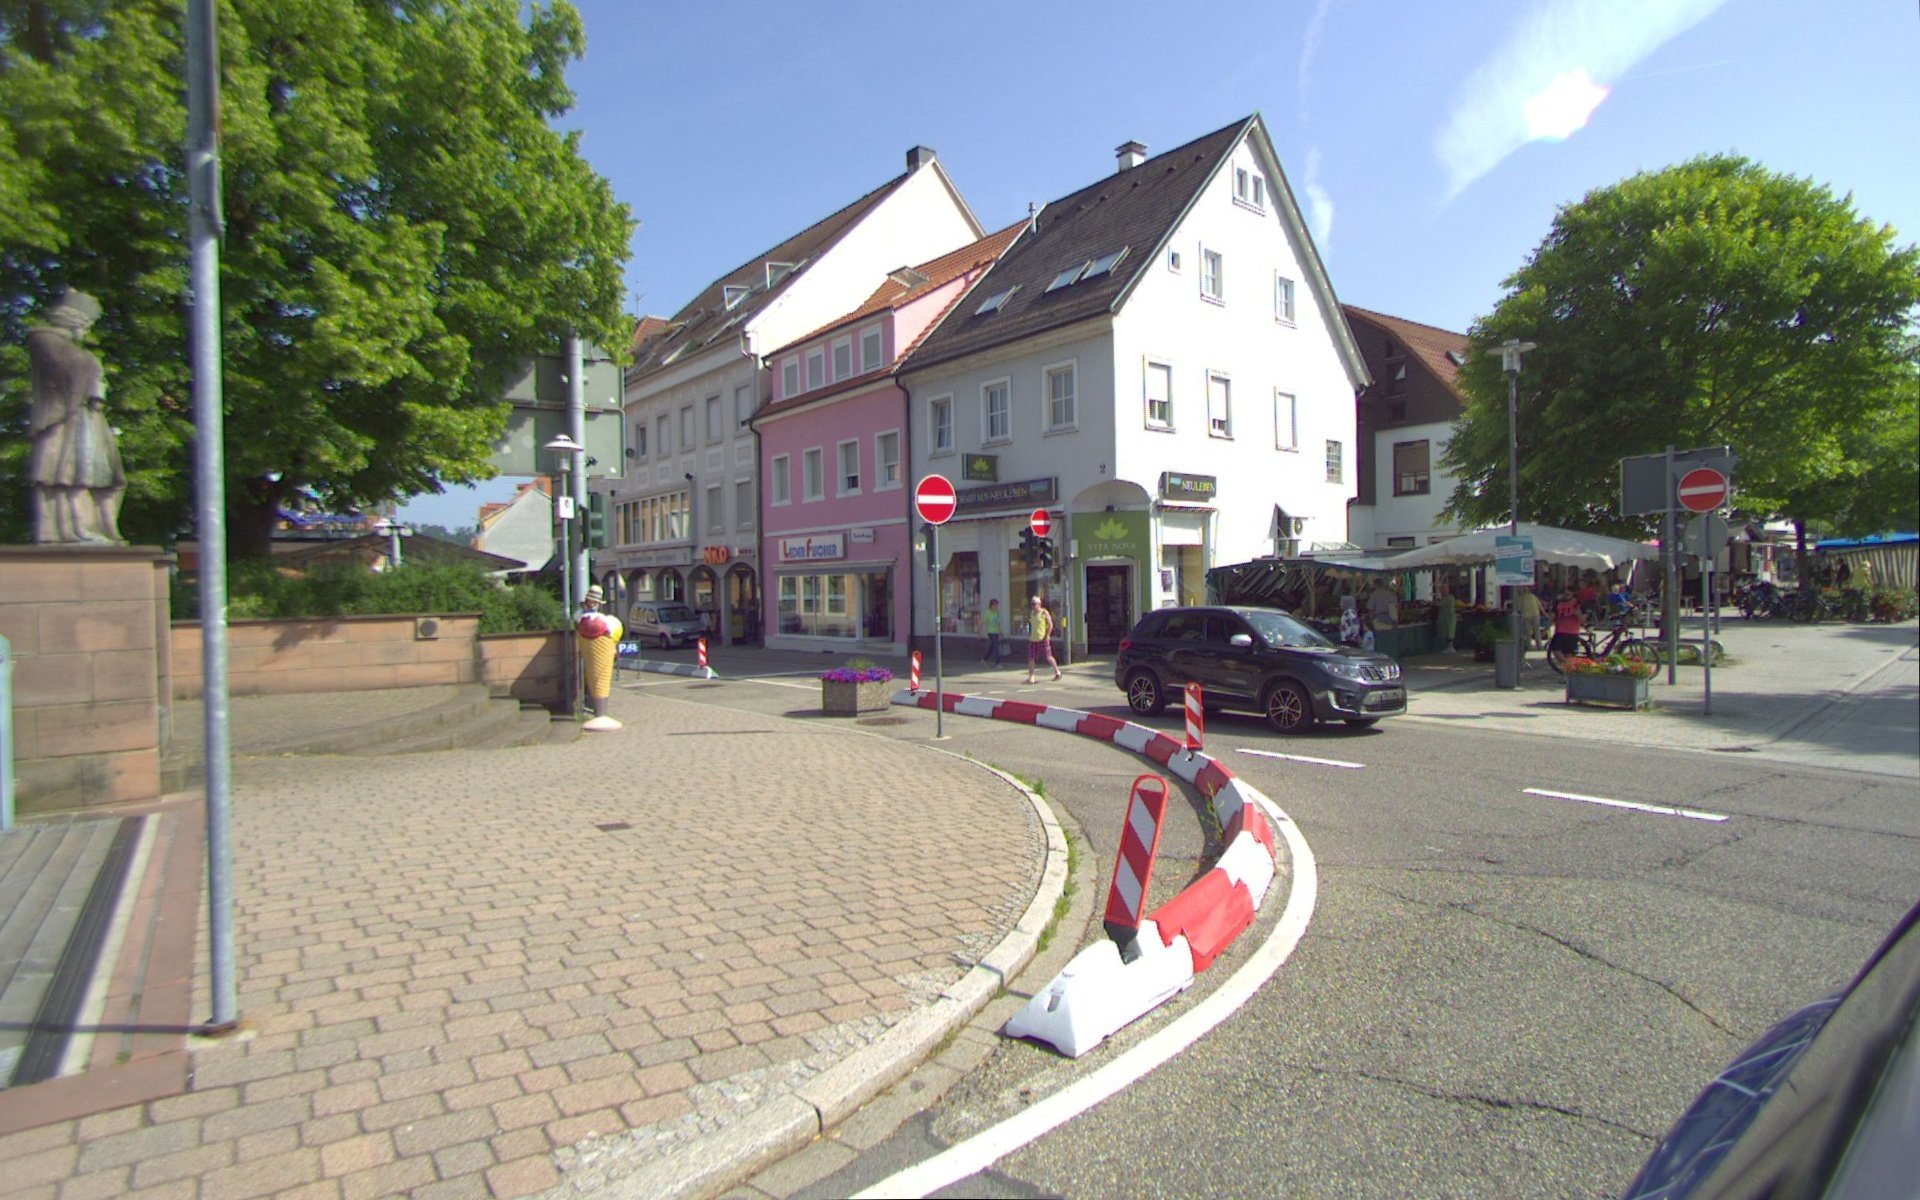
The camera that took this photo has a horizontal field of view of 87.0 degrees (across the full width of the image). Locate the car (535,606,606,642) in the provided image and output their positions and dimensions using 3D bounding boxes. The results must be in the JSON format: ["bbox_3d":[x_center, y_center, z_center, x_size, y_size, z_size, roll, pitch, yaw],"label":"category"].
[{"bbox_3d":[-17.994,1.094,46.631,1.777,1.488,4.450,-2,1,-38],"label":"car"}]

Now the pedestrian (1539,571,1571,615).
[{"bbox_3d":[18.939,-0.221,32.223,0.686,1.347,0.627,-2,3,-35],"label":"pedestrian"}]

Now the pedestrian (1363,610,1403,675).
[{"bbox_3d":[7.839,0.781,18.750,0.613,1.175,0.513,-1,0,17],"label":"pedestrian"}]

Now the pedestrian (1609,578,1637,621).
[{"bbox_3d":[19.421,-0.017,29.648,0.570,1.215,0.641,2,3,42],"label":"pedestrian"}]

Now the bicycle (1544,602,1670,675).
[{"bbox_3d":[11.718,0.673,18.360,1.853,1.250,0.609,-1,0,40],"label":"bicycle"}]

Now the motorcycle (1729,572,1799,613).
[{"bbox_3d":[24.589,-0.246,30.975,0.632,1.210,1.532,-2,3,-38],"label":"motorcycle"}]

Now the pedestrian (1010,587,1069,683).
[{"bbox_3d":[1.643,0.699,20.774,1.005,1.837,0.905,-4,2,11],"label":"pedestrian"}]

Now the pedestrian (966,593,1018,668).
[{"bbox_3d":[0.760,0.702,23.788,0.774,1.652,0.858,-4,2,-37],"label":"pedestrian"}]

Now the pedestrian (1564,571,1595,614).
[{"bbox_3d":[19.968,-0.262,32.631,0.686,1.347,0.627,-2,3,-35],"label":"pedestrian"}]

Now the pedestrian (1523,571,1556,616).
[{"bbox_3d":[18.171,-0.219,31.737,0.686,1.347,0.627,-2,3,-35],"label":"pedestrian"}]

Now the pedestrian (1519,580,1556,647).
[{"bbox_3d":[13.408,0.303,23.486,0.620,1.537,0.623,-1,0,42],"label":"pedestrian"}]

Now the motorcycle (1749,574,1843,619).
[{"bbox_3d":[24.365,-0.130,29.544,0.630,1.210,2.010,-2,3,-24],"label":"motorcycle"}]

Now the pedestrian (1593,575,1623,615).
[{"bbox_3d":[20.239,-0.156,31.616,0.639,1.215,0.572,-2,3,-37],"label":"pedestrian"}]

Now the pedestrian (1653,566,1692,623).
[{"bbox_3d":[20.111,-0.161,28.566,0.561,1.572,0.700,-2,3,-32],"label":"pedestrian"}]

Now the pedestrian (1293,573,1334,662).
[{"bbox_3d":[8.055,0.380,23.060,0.692,1.995,0.509,-1,0,-12],"label":"pedestrian"}]

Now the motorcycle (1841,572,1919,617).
[{"bbox_3d":[26.531,-0.181,29.133,0.632,1.210,2.005,0,3,4],"label":"motorcycle"}]

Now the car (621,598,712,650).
[{"bbox_3d":[-11.097,0.878,38.080,1.682,1.760,4.139,-4,2,-40],"label":"car"}]

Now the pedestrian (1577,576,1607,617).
[{"bbox_3d":[19.229,-0.121,30.800,0.639,1.215,0.572,-2,3,-37],"label":"pedestrian"}]

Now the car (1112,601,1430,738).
[{"bbox_3d":[4.076,0.835,13.847,1.652,1.581,3.969,1,-1,-36],"label":"car"}]

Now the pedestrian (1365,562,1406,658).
[{"bbox_3d":[9.058,0.205,21.531,0.701,2.010,0.645,-1,0,31],"label":"pedestrian"}]

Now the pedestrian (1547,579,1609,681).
[{"bbox_3d":[10.693,0.498,17.520,0.877,1.678,0.565,1,3,34],"label":"pedestrian"}]

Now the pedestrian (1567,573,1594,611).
[{"bbox_3d":[20.571,-0.284,33.554,0.639,1.215,0.572,-2,3,-37],"label":"pedestrian"}]

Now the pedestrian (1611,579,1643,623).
[{"bbox_3d":[18.994,0.012,28.832,0.696,1.215,0.564,2,3,39],"label":"pedestrian"}]

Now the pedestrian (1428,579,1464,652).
[{"bbox_3d":[11.188,0.335,23.306,0.695,1.647,0.521,-1,0,-42],"label":"pedestrian"}]

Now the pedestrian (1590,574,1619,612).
[{"bbox_3d":[21.057,-0.233,33.064,0.639,1.215,0.572,-2,3,-37],"label":"pedestrian"}]

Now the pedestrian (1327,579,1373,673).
[{"bbox_3d":[7.468,0.486,19.423,0.778,1.745,0.703,-1,0,20],"label":"pedestrian"}]

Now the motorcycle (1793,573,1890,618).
[{"bbox_3d":[25.389,-0.149,29.193,0.630,1.210,2.010,-1,3,-24],"label":"motorcycle"}]
